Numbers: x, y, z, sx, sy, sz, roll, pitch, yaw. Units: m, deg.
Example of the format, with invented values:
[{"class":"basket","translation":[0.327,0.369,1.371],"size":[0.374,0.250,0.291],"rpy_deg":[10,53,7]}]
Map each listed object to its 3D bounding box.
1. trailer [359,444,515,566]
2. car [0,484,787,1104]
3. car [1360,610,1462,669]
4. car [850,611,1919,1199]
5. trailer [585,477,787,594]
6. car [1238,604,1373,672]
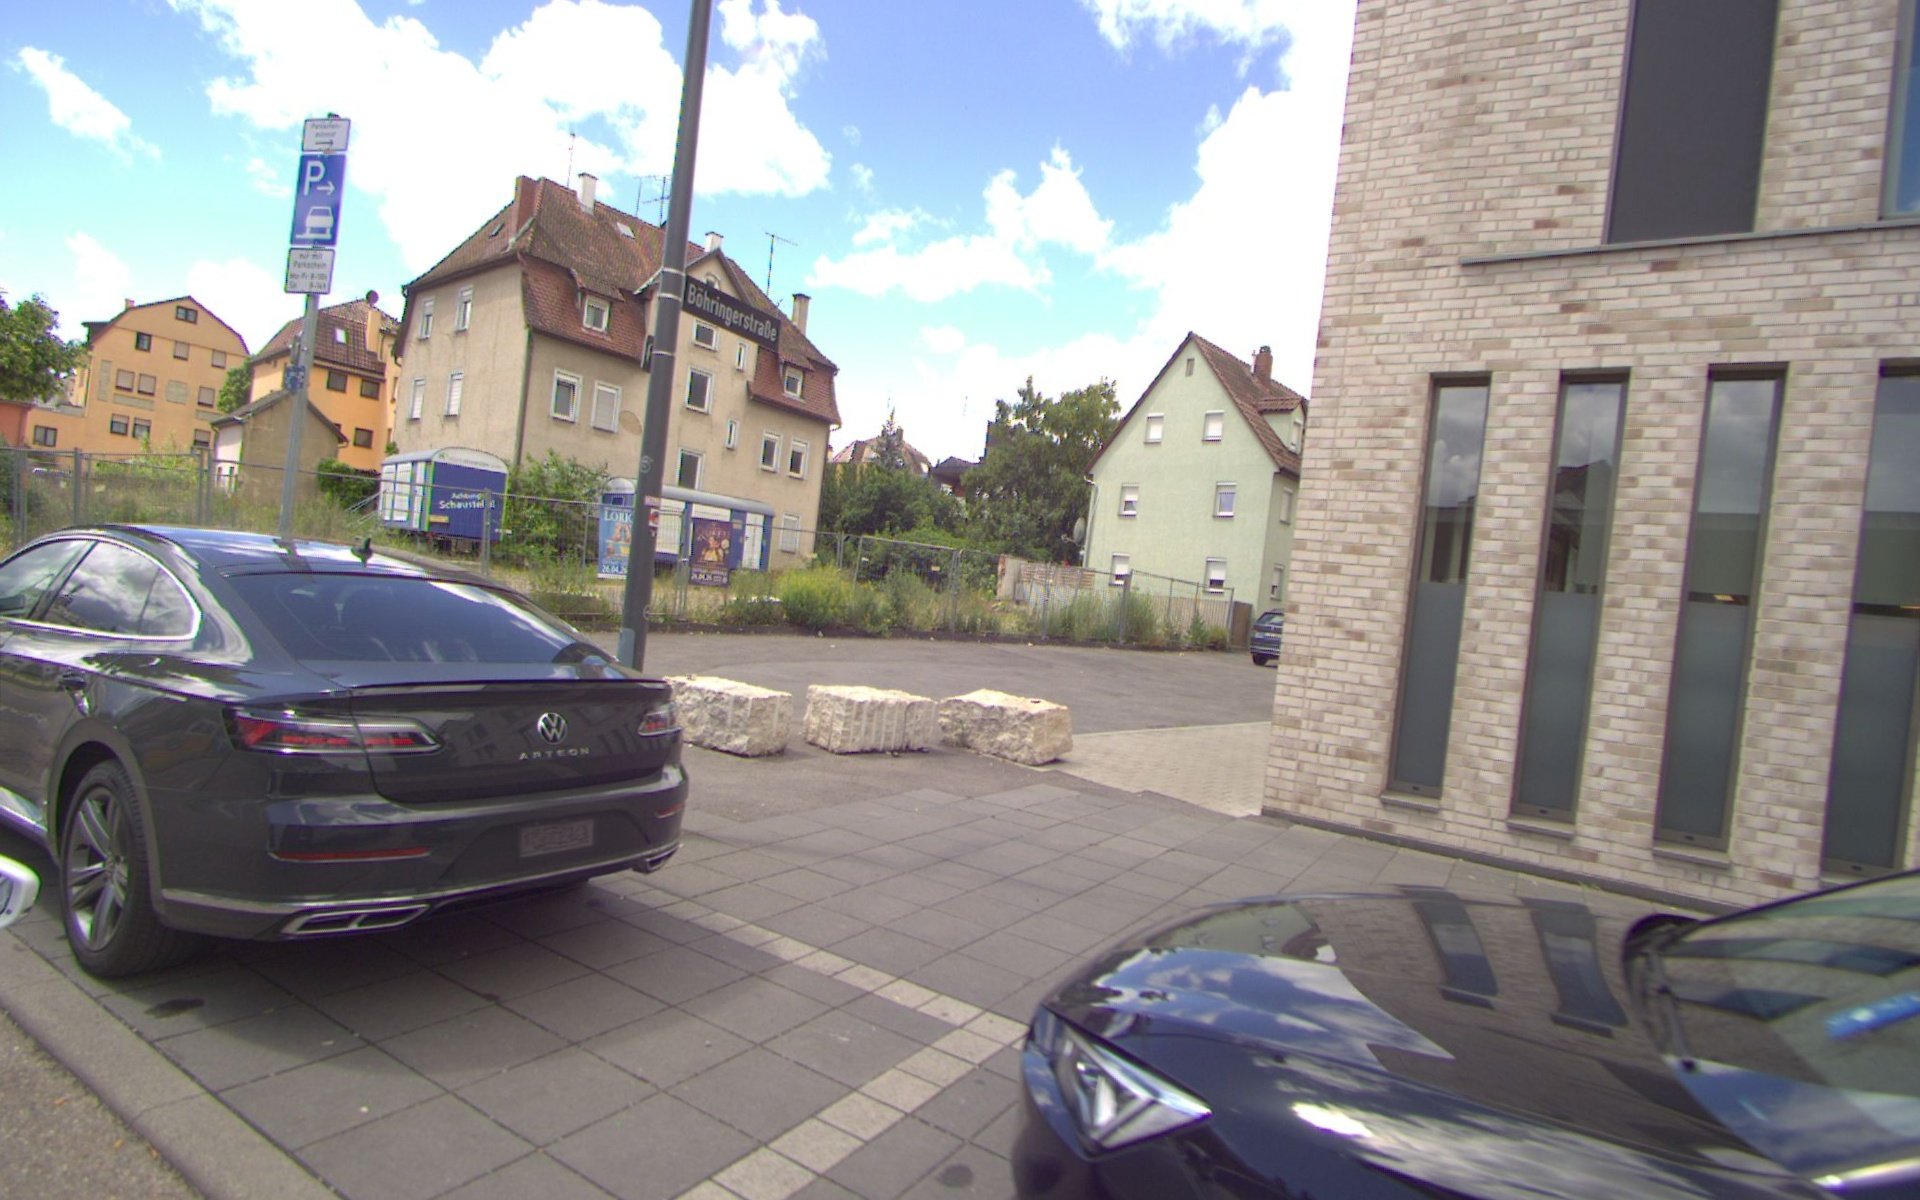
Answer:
[{"class":"trailer","translation":[-16.169,-2.897,30.921],"size":[2.397,3.162,6.082],"rpy_deg":[5,1,-44]},{"class":"car","translation":[-3.172,0.352,4.481],"size":[4.567,1.469,1.866],"rpy_deg":[6,1,32]},{"class":"car","translation":[16.404,1.456,36.500],"size":[1.973,1.773,3.975],"rpy_deg":[8,3,44]},{"class":"car","translation":[1.980,0.994,1.361],"size":[4.080,1.480,1.693],"rpy_deg":[6,1,34]},{"class":"trailer","translation":[-9.212,-2.122,34.384],"size":[2.379,3.162,6.128],"rpy_deg":[7,1,42]},{"class":"car","translation":[10.038,1.127,29.059],"size":[4.231,1.627,1.845],"rpy_deg":[4,3,-44]}]
